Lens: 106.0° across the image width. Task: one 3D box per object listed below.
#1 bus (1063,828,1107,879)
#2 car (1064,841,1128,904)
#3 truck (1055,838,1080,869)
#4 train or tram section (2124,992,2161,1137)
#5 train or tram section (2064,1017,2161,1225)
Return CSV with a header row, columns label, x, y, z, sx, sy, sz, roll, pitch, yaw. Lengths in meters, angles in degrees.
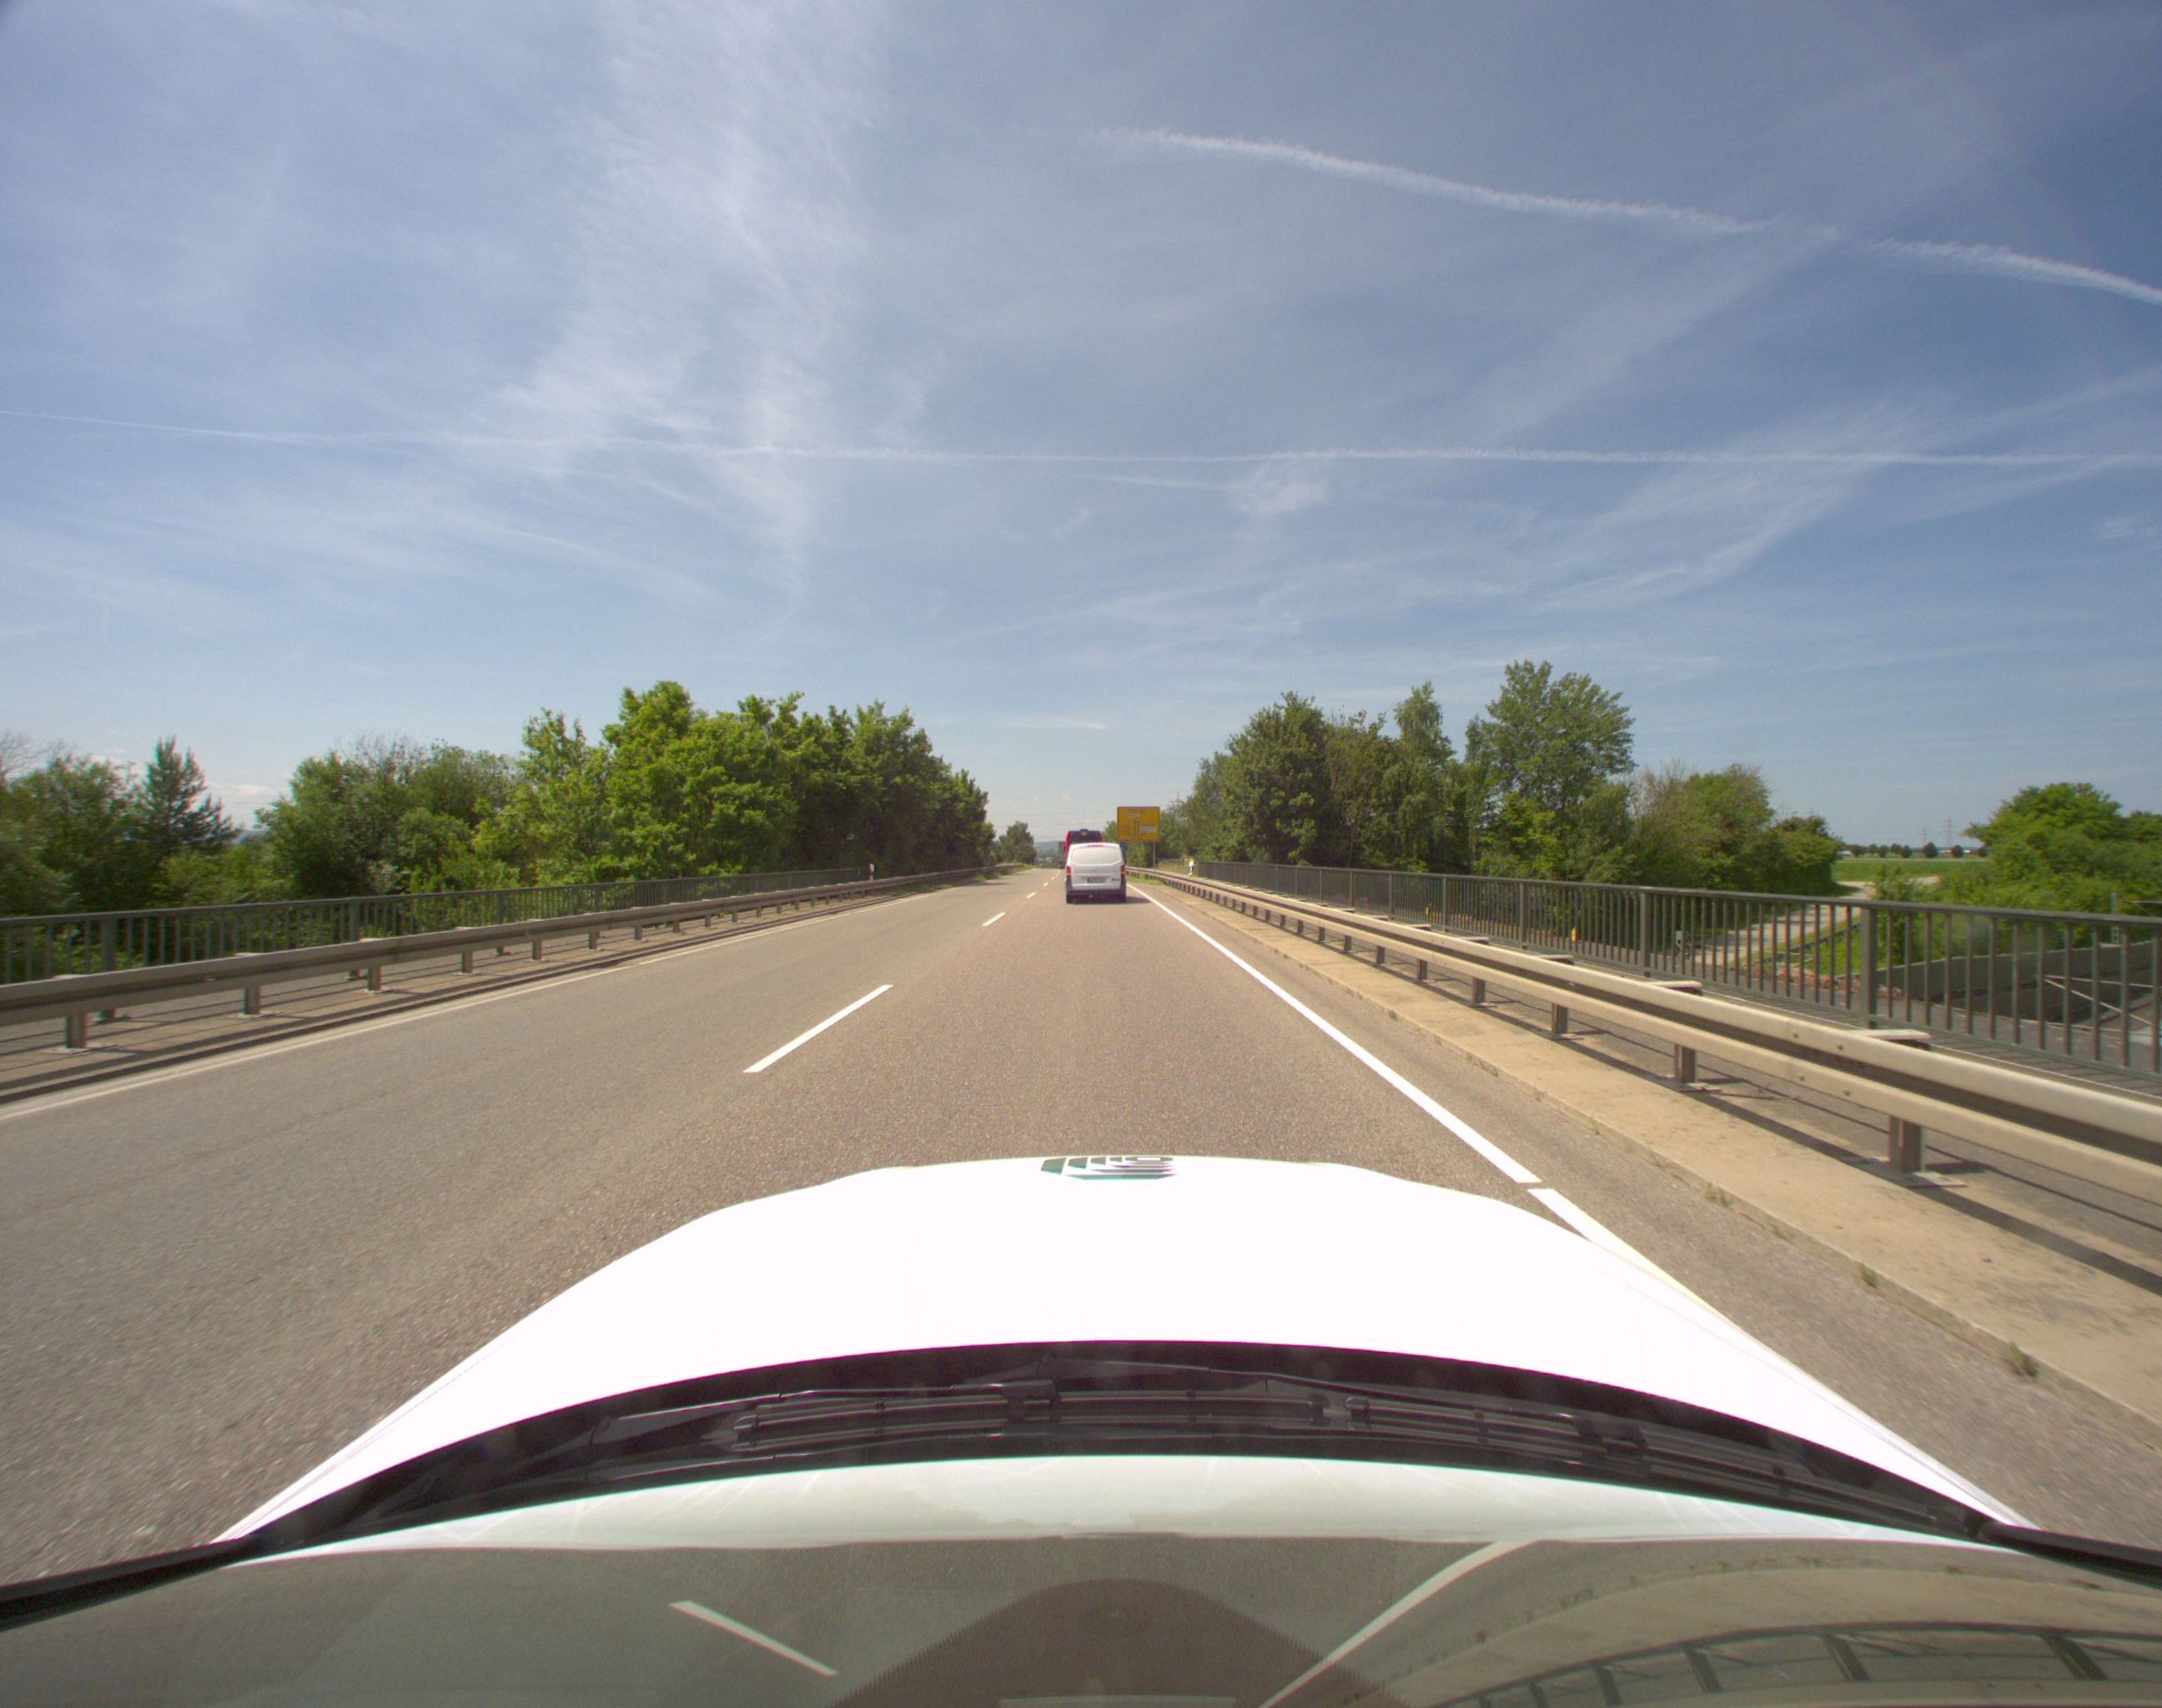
label,x,y,z,sx,sy,sz,roll,pitch,yaw
bus,0.138,-0.043,61.267,2.740,3.353,13.211,-1,0,-2
car,0.446,0.545,26.493,1.917,1.889,3.999,0,0,0
truck,-2.094,-0.177,125.727,3.478,4.423,14.896,-1,0,-1
train or tram section,45.654,8.460,33.343,12.496,4.230,2.528,1,0,-33
train or tram section,35.196,8.288,26.575,12.496,4.230,2.528,1,0,-33
